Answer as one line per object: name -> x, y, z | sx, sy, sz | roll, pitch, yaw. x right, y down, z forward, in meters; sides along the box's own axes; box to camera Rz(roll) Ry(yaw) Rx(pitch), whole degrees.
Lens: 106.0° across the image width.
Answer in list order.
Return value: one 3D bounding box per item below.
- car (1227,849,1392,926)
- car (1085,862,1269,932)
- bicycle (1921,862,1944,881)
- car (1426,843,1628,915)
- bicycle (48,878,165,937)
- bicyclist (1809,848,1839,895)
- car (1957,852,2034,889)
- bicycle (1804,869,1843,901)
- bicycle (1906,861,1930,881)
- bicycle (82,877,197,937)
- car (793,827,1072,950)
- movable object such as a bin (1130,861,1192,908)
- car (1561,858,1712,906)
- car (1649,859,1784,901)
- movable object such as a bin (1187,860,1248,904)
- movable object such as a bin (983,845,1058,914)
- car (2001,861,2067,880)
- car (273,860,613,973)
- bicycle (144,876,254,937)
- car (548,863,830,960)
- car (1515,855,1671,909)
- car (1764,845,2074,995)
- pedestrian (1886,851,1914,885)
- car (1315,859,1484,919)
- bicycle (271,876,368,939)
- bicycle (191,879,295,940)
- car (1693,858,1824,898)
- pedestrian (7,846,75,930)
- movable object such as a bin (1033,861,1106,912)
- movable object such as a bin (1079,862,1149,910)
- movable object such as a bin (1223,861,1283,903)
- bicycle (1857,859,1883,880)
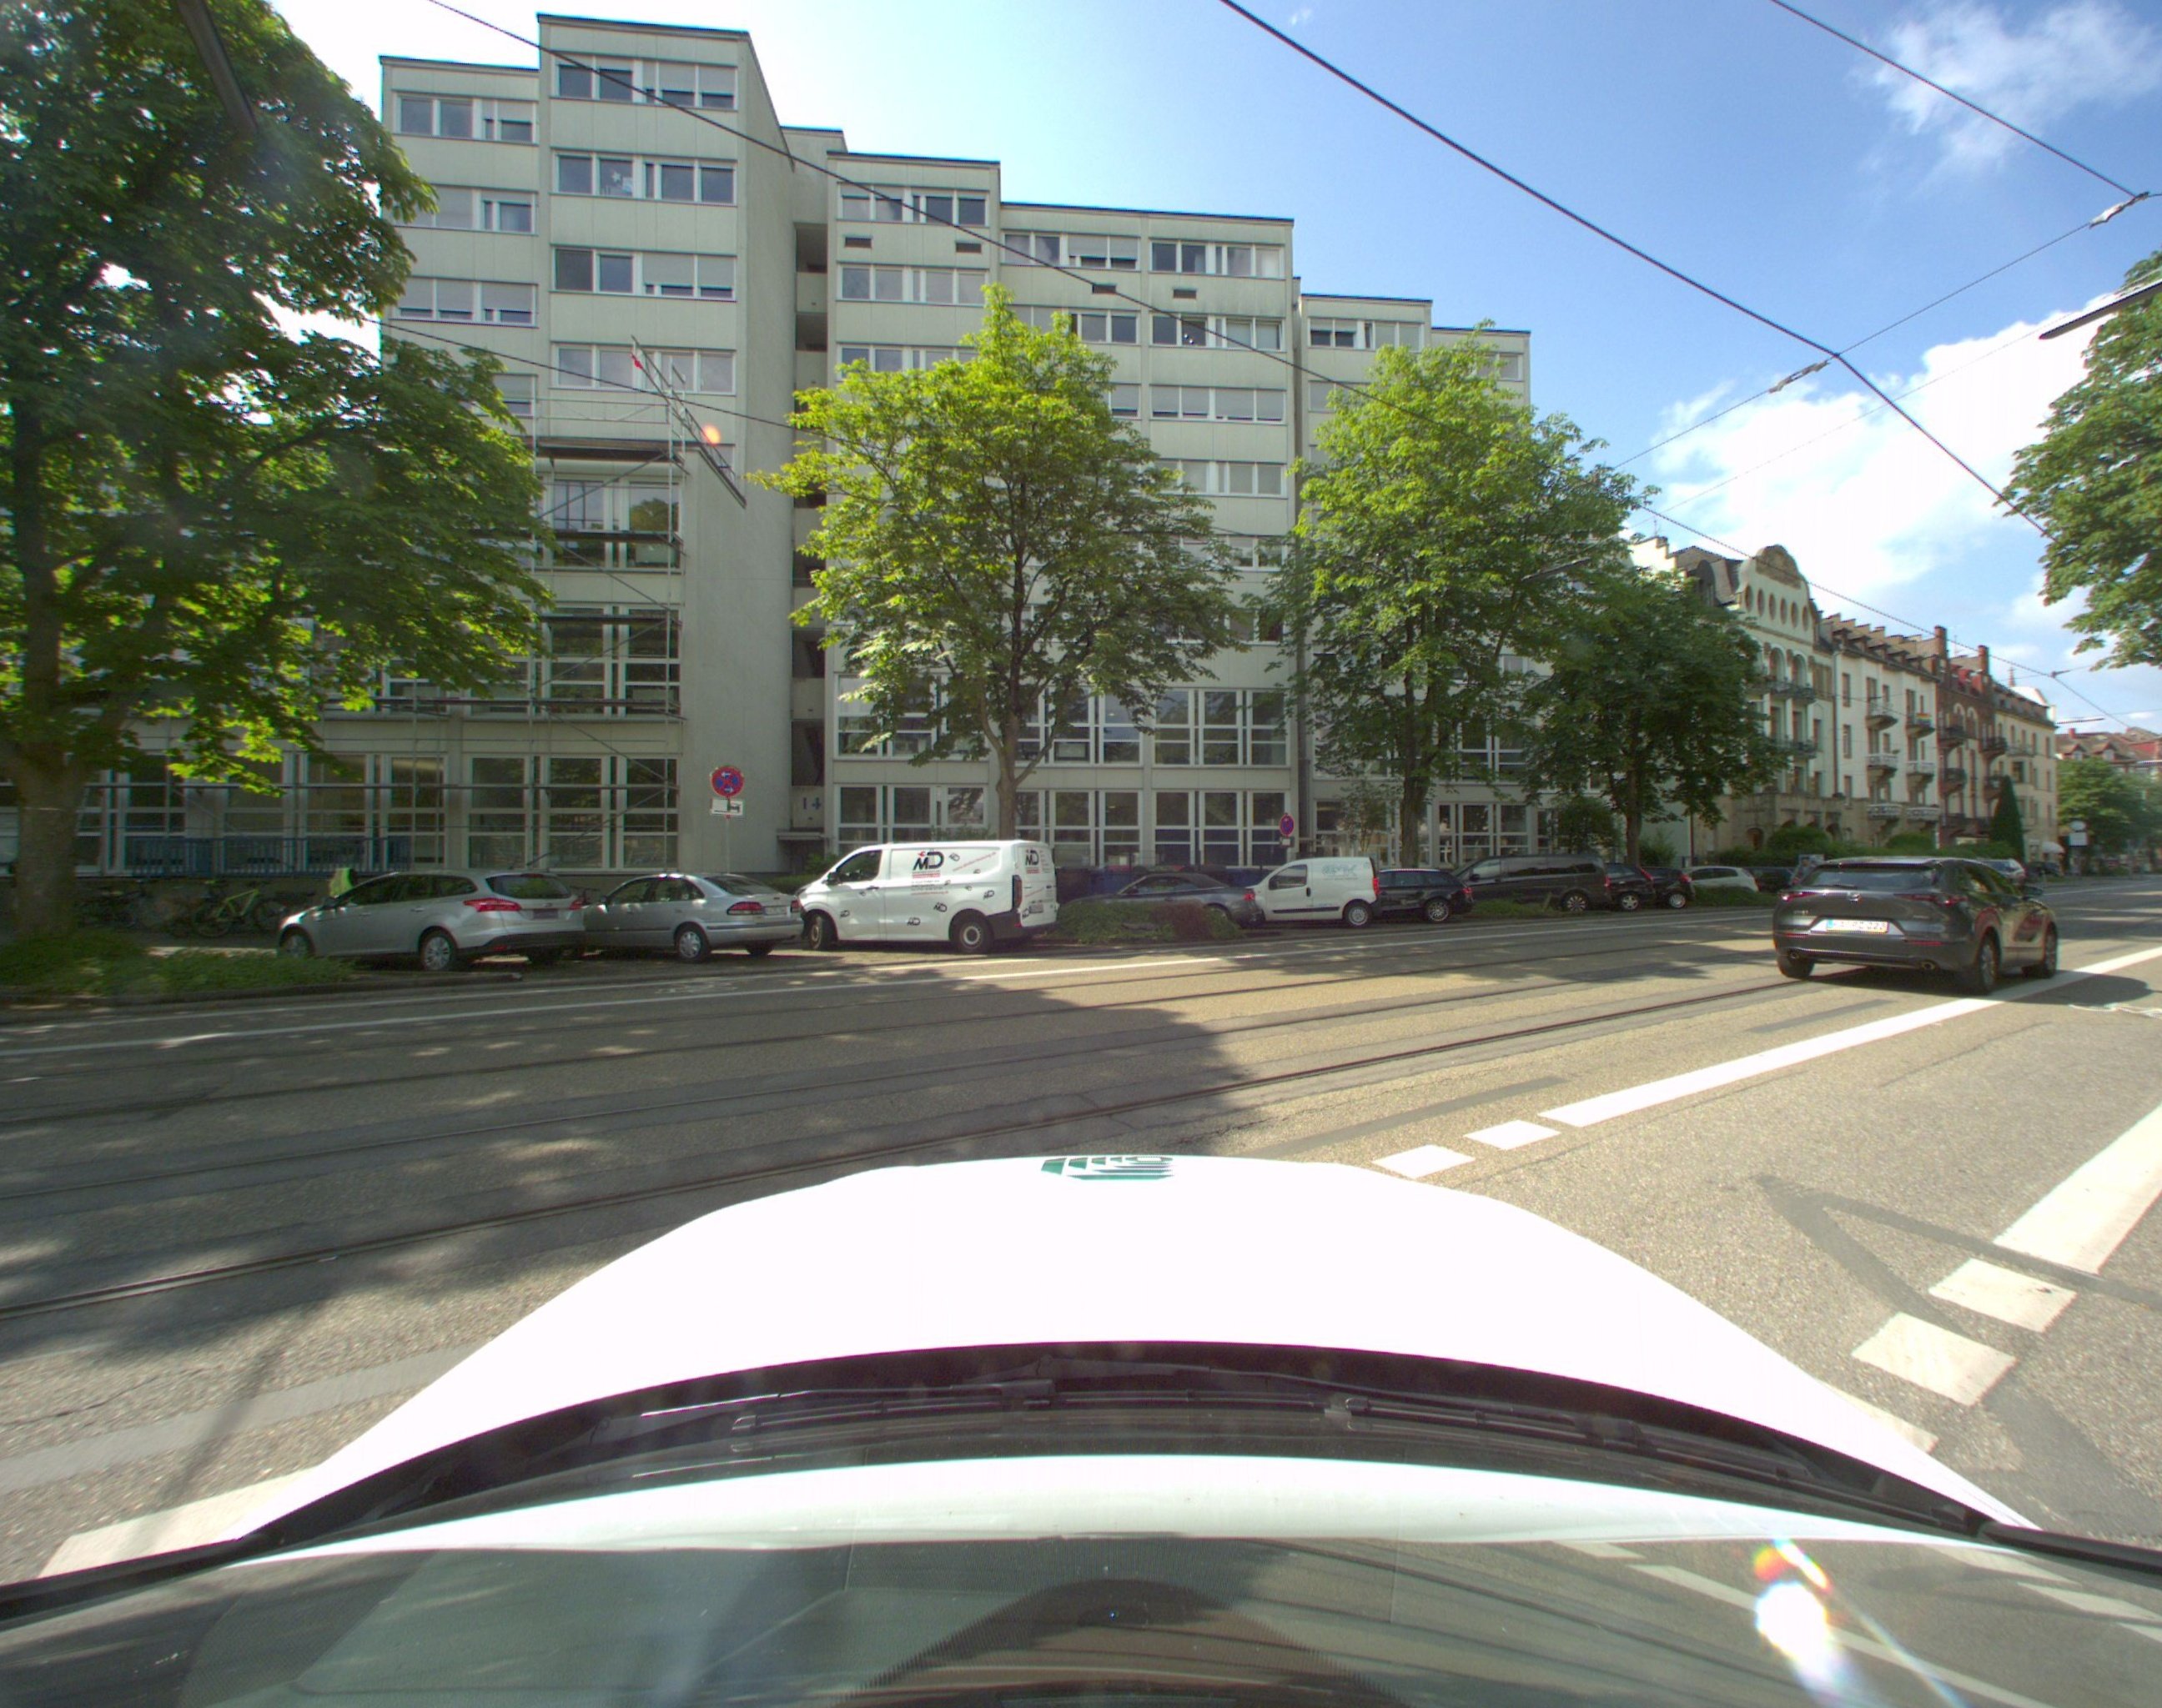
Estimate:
car -> 5.596, 0.842, 20.071 | 3.674, 1.693, 1.768 | -3, -3, 17
car -> 2.203, 0.993, 18.671 | 3.963, 1.418, 1.726 | -2, -3, 9
bicycle -> 45.590, 0.913, 43.602 | 1.926, 0.959, 0.380 | 0, 1, -28
car -> 13.634, 0.811, 25.247 | 5.114, 1.954, 1.924 | -2, -3, 14
bicycle -> -19.762, 1.057, 16.567 | 0.539, 1.081, 1.577 | -3, -1, -5
bicyclist -> 25.537, 0.599, 27.994 | 0.746, 1.577, 0.636 | 1, -3, -40
car -> 46.010, 0.794, 40.964 | 4.900, 1.763, 1.772 | 0, -1, -32
bicycle -> 25.435, 1.051, 27.902 | 2.010, 1.040, 0.650 | 1, -2, -38
bicycle -> 43.724, 0.883, 42.543 | 1.814, 0.959, 0.380 | 0, 1, -28
bicycle -> -18.873, 1.043, 16.367 | 0.539, 1.093, 1.577 | -3, -1, -5
car -> -2.694, 0.618, 14.955 | 4.632, 1.997, 1.978 | -1, -1, 19
movable object such as a bin -> 2.447, 0.947, 24.944 | 1.447, 1.381, 1.184 | 1, -5, -33
car -> 19.255, 1.003, 28.437 | 3.955, 1.484, 1.749 | -3, -3, 18
car -> 25.006, 1.044, 32.176 | 3.767, 1.484, 1.704 | -3, -3, 15
movable object such as a bin -> 4.316, 0.888, 25.734 | 1.446, 1.328, 1.156 | 0, -4, -31
movable object such as a bin -> -1.670, 0.719, 22.459 | 1.545, 1.782, 1.376 | 1, -5, -34
car -> 77.982, 1.323, 66.687 | 1.682, 1.513, 3.219 | 0, 0, -26
car -> -9.491, 0.882, 12.217 | 4.149, 1.500, 1.829 | -1, -1, 14
bicycle -> -17.564, 1.022, 16.263 | 0.539, 1.114, 1.577 | -3, -1, -6
car -> -6.564, 0.909, 13.715 | 4.124, 1.450, 1.830 | -1, -1, 18
car -> 16.644, 0.938, 26.692 | 3.956, 1.593, 1.748 | -3, -3, 16
car -> 10.597, 0.663, 10.227 | 4.365, 1.512, 1.778 | -1, 0, -31
pedestrian -> 38.515, 0.652, 38.296 | 0.884, 1.568, 0.676 | 0, 0, -28
car -> 8.332, 0.957, 21.689 | 3.958, 1.418, 1.767 | -2, -3, 14
bicycle -> -15.287, 1.038, 16.399 | 0.539, 1.162, 1.577 | -3, -1, -6
bicycle -> -16.785, 1.087, 16.360 | 0.539, 1.121, 1.577 | -3, -1, -6
car -> 27.898, 1.030, 33.674 | 3.762, 1.484, 1.706 | -3, -3, 21
pedestrian -> -20.578, 0.662, 16.126 | 0.665, 1.624, 0.635 | 1, -1, -38
movable object such as a bin -> -0.342, 0.942, 23.286 | 1.545, 1.364, 1.376 | 1, -5, -34
movable object such as a bin -> 0.964, 0.957, 24.192 | 1.545, 1.364, 1.376 | 1, -5, -34
movable object such as a bin -> 5.583, 0.915, 26.492 | 1.446, 1.283, 1.160 | 0, -4, -31
bicycle -> 38.407, 0.744, 39.645 | 1.814, 0.959, 0.380 | 0, 1, -28
